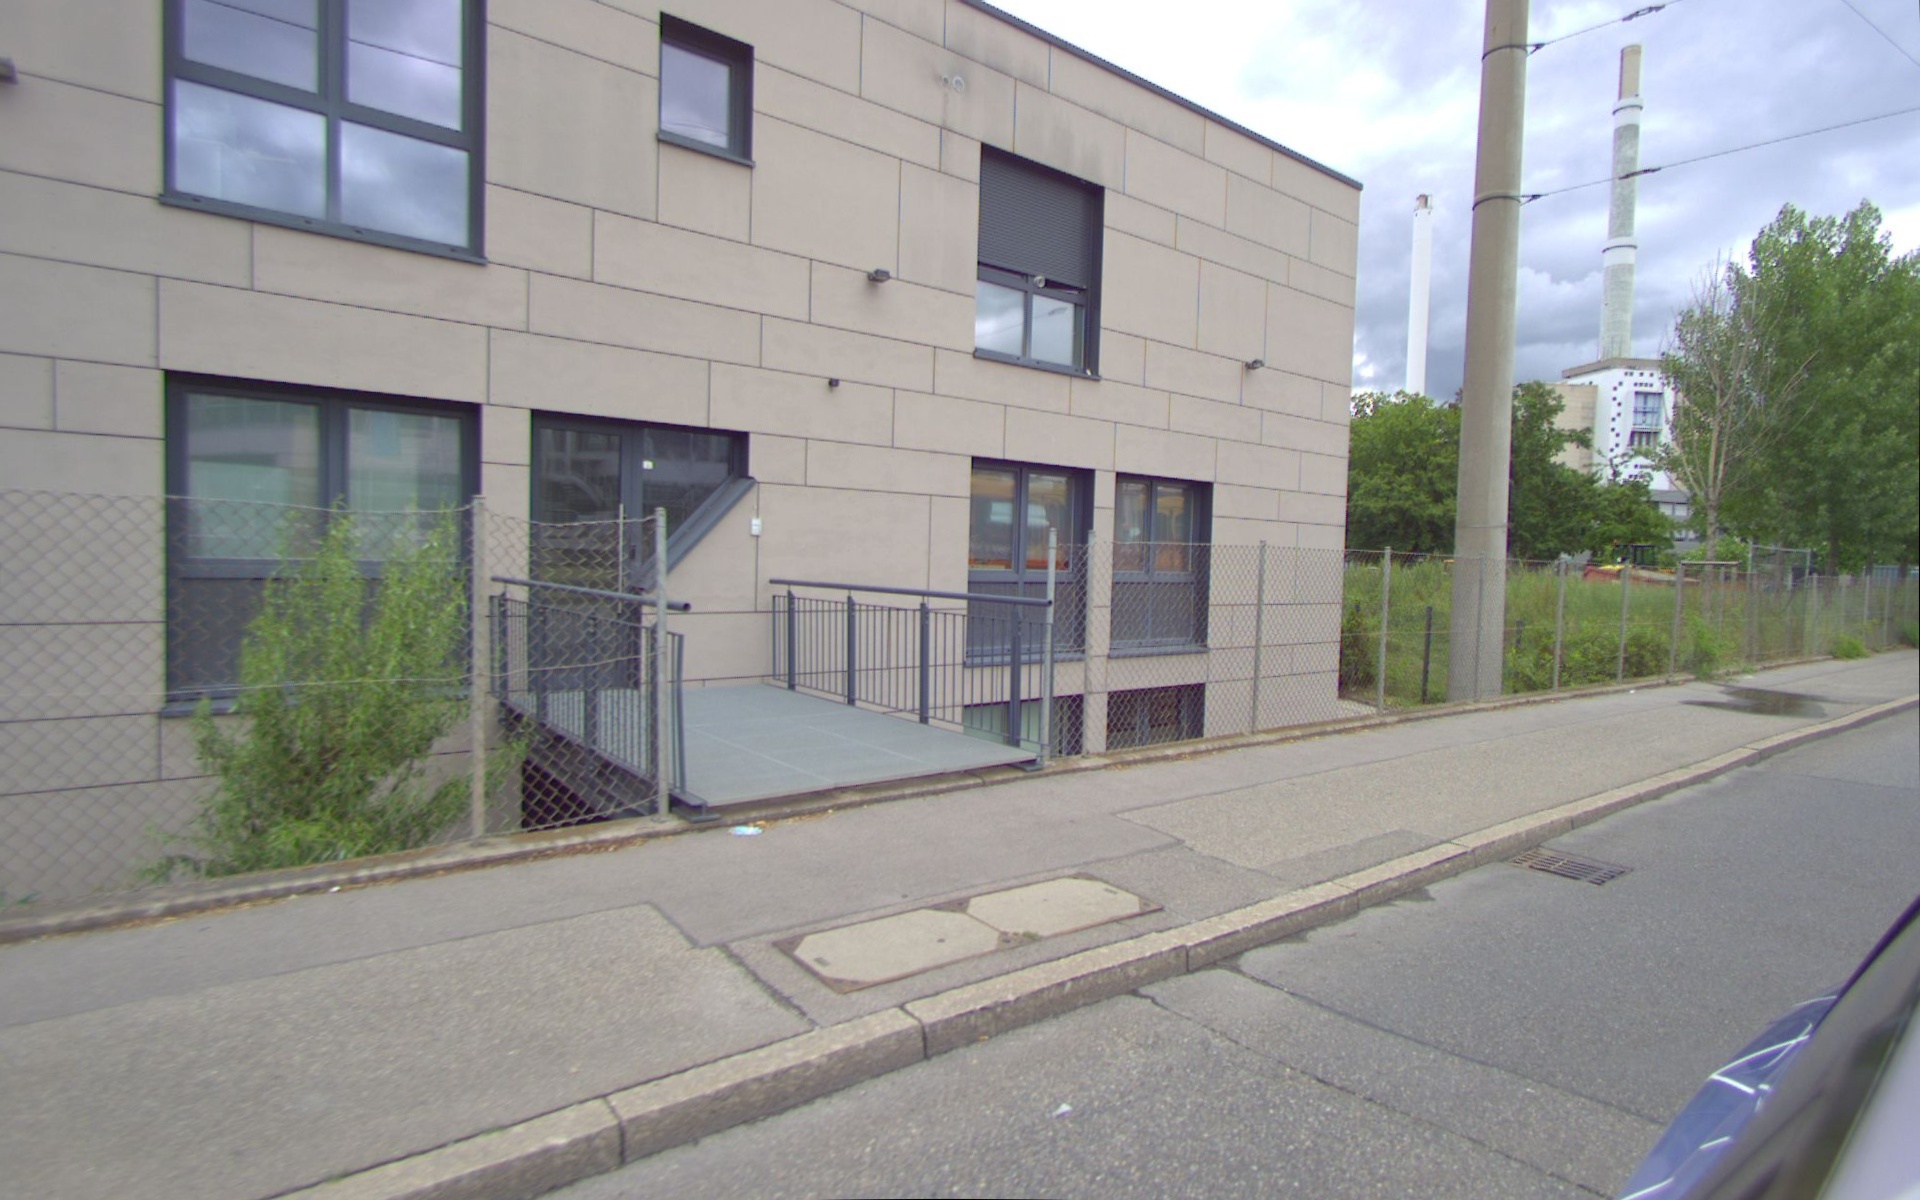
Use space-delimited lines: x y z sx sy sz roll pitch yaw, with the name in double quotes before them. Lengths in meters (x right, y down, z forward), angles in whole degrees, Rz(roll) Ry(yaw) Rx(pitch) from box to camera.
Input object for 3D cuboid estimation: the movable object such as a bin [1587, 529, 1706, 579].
"movable object such as a bin" 30.642 -2.081 45.228 4.206 2.037 2.006 -2 4 -13
